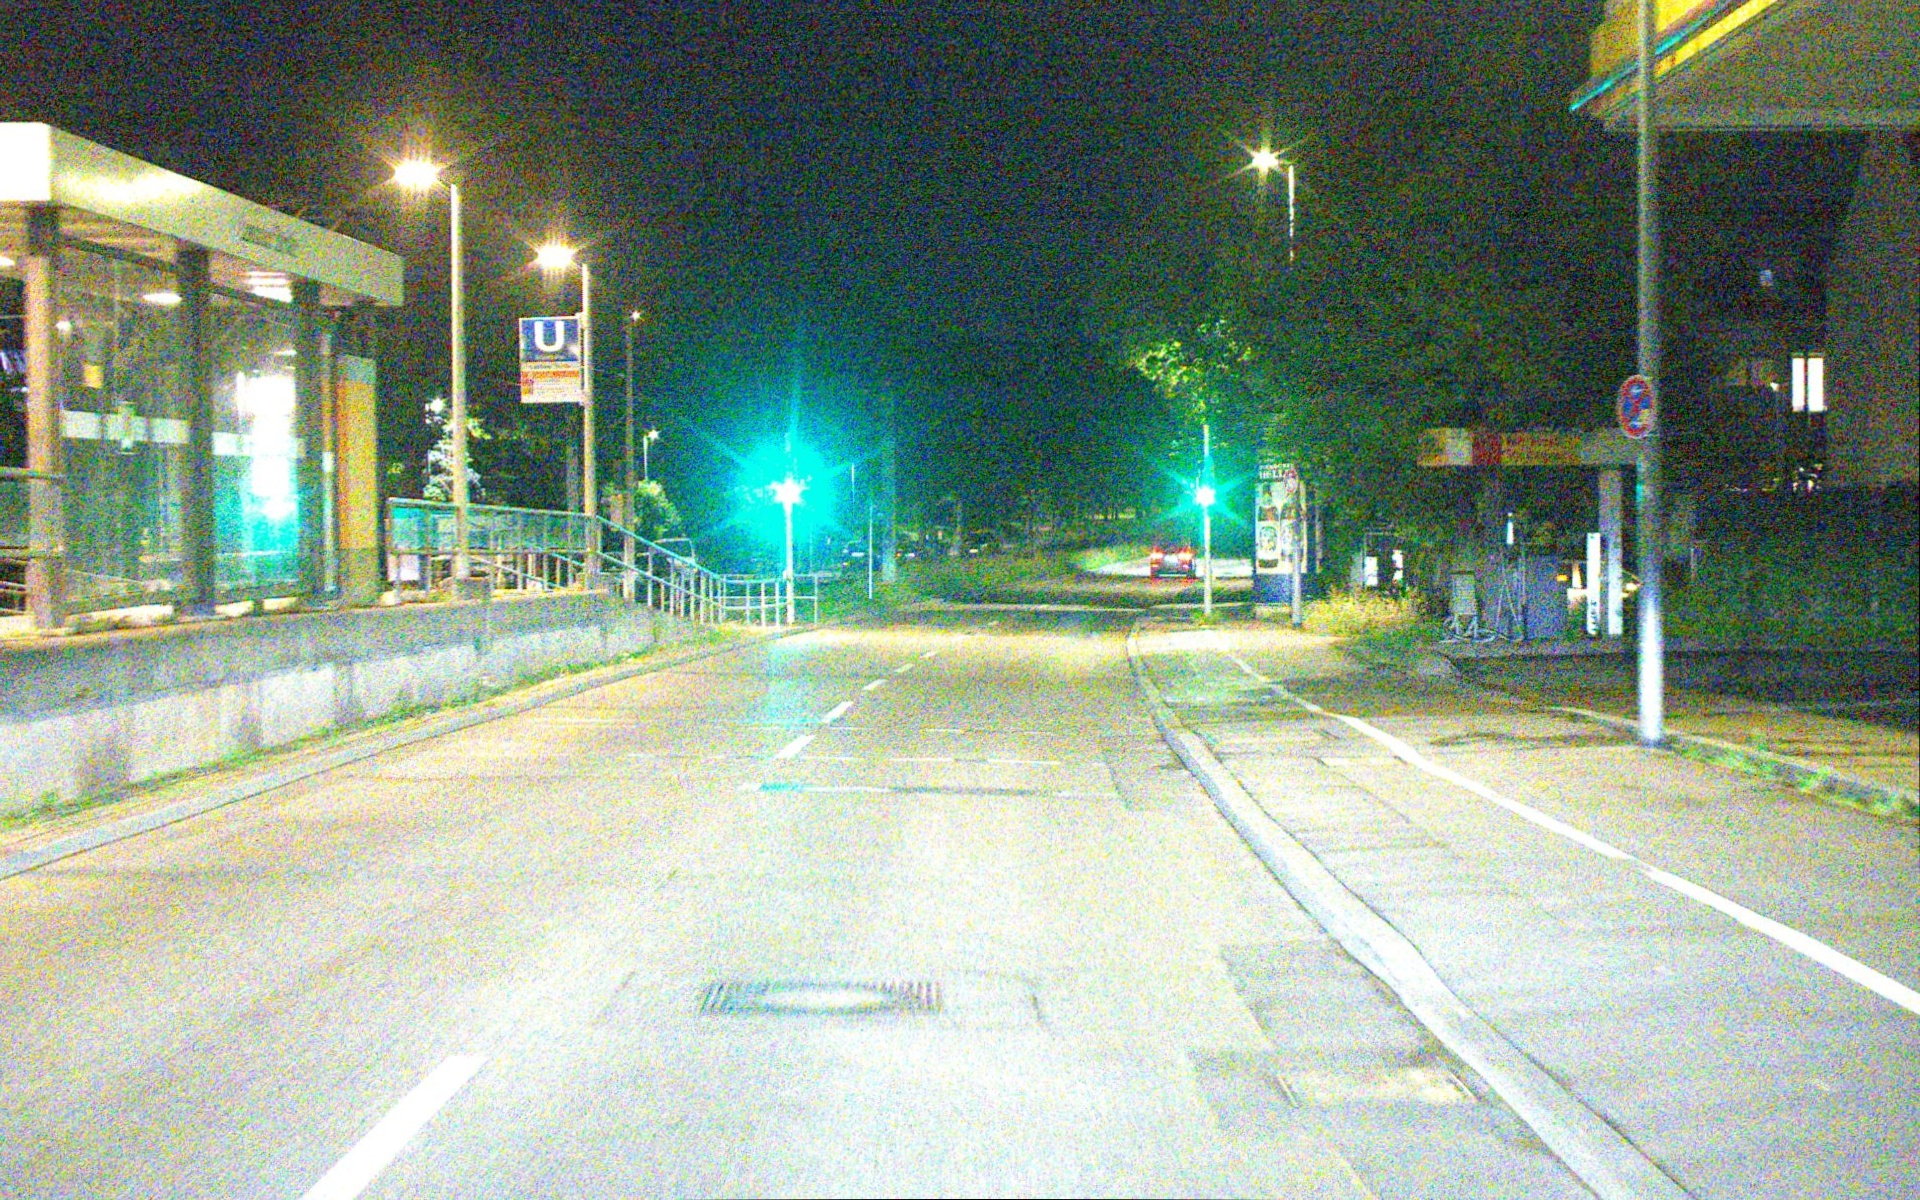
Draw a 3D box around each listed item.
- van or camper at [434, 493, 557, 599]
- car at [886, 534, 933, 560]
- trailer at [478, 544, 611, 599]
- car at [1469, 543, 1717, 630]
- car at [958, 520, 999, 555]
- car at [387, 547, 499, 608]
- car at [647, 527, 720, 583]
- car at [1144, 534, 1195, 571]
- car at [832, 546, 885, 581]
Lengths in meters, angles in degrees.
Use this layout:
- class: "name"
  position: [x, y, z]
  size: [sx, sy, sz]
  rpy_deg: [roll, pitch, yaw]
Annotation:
- class: "van or camper"
  position: [-12.361, -1.452, 91.809]
  size: [2.272, 2.638, 5.664]
  rpy_deg: [-2, 1, 2]
- class: "car"
  position: [-2.709, -2.883, 186.345]
  size: [1.994, 1.333, 5.431]
  rpy_deg: [0, 1, 5]
- class: "trailer"
  position: [-11.890, -0.841, 98.670]
  size: [2.420, 1.370, 4.653]
  rpy_deg: [-4, 0, 10]
- class: "car"
  position: [10.245, -0.233, 55.823]
  size: [3.764, 1.349, 1.859]
  rpy_deg: [0, 1, 4]
- class: "car"
  position: [1.150, -3.948, 216.667]
  size: [2.092, 2.006, 4.000]
  rpy_deg: [-4, 1, 6]
- class: "car"
  position: [-12.811, -0.572, 85.408]
  size: [1.646, 1.335, 4.542]
  rpy_deg: [-4, 1, 5]
- class: "car"
  position: [-9.536, -1.556, 118.729]
  size: [1.857, 1.897, 4.879]
  rpy_deg: [0, 1, 3]
- class: "car"
  position: [9.093, -2.063, 149.663]
  size: [2.162, 1.577, 4.013]
  rpy_deg: [0, 1, 3]
- class: "car"
  position: [-4.904, -1.770, 166.823]
  size: [1.994, 1.622, 4.676]
  rpy_deg: [0, 1, 5]
